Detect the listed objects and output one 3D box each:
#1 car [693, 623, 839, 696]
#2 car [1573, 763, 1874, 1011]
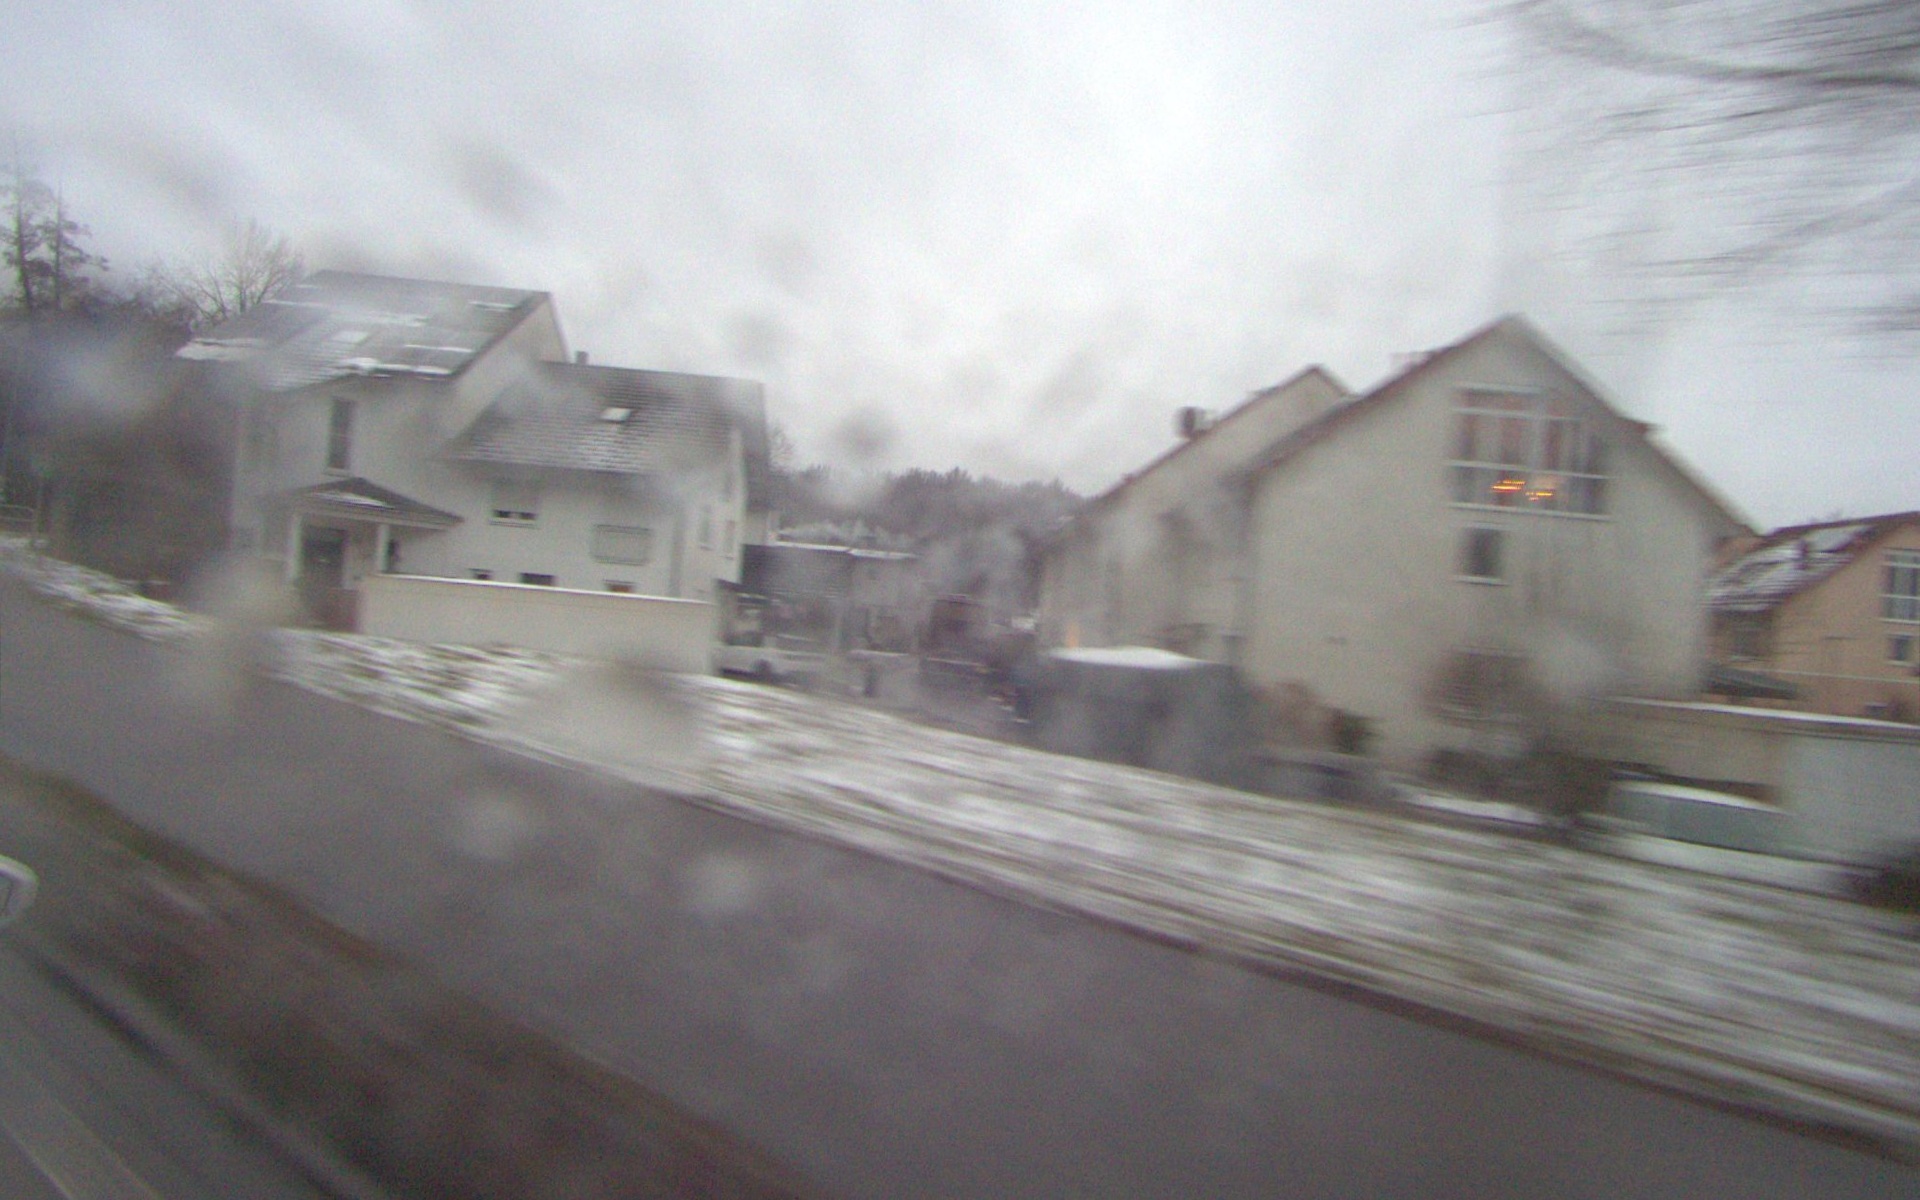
[{"bbox_3d":[-6.010,1.807,31.028,4.272,1.610,1.946,7,-1,37],"label":"car"},{"bbox_3d":[7.981,2.862,10.933,1.772,1.616,3.792,7,-1,27],"label":"car"}]
